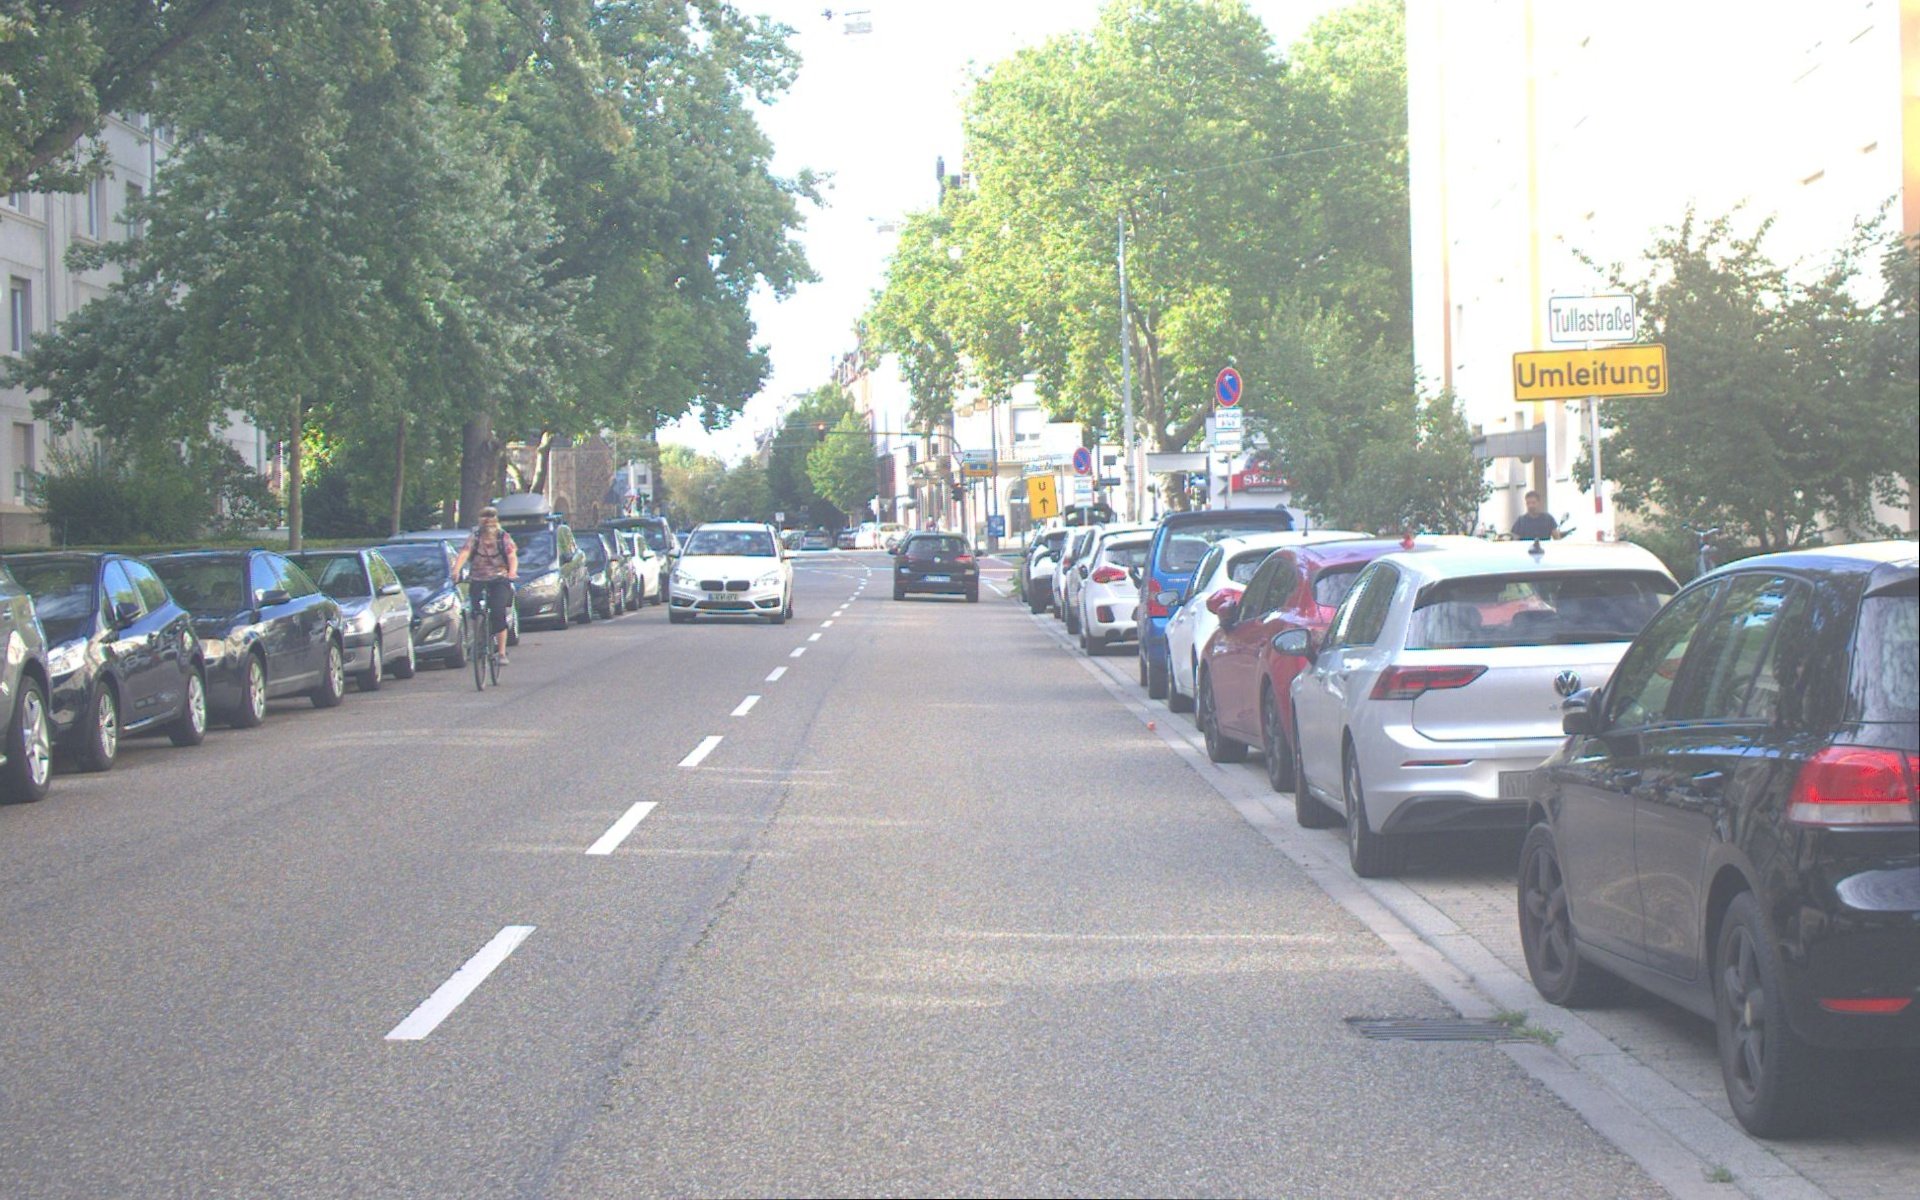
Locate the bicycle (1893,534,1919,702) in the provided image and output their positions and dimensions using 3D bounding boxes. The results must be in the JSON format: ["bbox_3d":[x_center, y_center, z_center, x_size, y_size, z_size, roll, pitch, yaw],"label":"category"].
[{"bbox_3d":[7.658,0.145,25.692,0.604,1.286,2.635,-2,1,0],"label":"bicycle"}]

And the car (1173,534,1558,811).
[{"bbox_3d":[2.448,0.371,21.716,1.728,1.510,4.192,-2,1,-2],"label":"car"}]

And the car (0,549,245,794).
[{"bbox_3d":[-6.344,0.468,23.880,1.685,1.475,4.119,-5,1,2],"label":"car"}]

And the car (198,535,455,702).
[{"bbox_3d":[-6.242,0.138,34.281,1.600,1.414,3.964,-4,1,2],"label":"car"}]

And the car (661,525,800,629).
[{"bbox_3d":[-3.576,-0.388,54.151,1.859,1.523,4.011,-1,2,0],"label":"car"}]

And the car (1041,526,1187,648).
[{"bbox_3d":[2.125,-0.217,48.466,1.728,1.575,4.117,-2,1,-1],"label":"car"}]

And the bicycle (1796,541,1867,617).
[{"bbox_3d":[11.151,-0.279,43.997,0.458,0.924,1.517,-2,1,-1],"label":"bicycle"}]

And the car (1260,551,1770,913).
[{"bbox_3d":[2.494,0.524,16.365,1.662,1.411,4.059,-3,1,-1],"label":"car"}]

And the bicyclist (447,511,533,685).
[{"bbox_3d":[-4.377,-0.027,32.071,0.641,1.595,0.990,-1,1,0],"label":"bicyclist"}]

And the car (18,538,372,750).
[{"bbox_3d":[-6.273,0.303,28.698,1.685,1.475,4.451,-5,1,3],"label":"car"}]

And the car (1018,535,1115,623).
[{"bbox_3d":[1.957,-0.408,62.904,1.690,1.523,4.237,-1,1,2],"label":"car"}]

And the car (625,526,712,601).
[{"bbox_3d":[-6.945,-0.896,82.301,1.799,1.614,3.803,-4,1,-2],"label":"car"}]

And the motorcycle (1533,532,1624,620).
[{"bbox_3d":[7.847,-0.319,43.711,0.630,1.041,2.394,-3,1,-1],"label":"motorcycle"}]

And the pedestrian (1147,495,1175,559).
[{"bbox_3d":[5.152,-1.872,88.233,0.652,1.639,0.743,-1,1,-1],"label":"pedestrian"}]

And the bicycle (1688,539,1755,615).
[{"bbox_3d":[9.706,-0.302,43.866,0.458,0.924,1.517,-2,1,-1],"label":"bicycle"}]

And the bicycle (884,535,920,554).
[{"bbox_3d":[-3.404,-3.253,201.371,2.022,1.078,0.620,-2,2,-13],"label":"bicycle"}]

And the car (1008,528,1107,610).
[{"bbox_3d":[1.933,-0.647,69.046,1.690,1.523,4.238,-2,1,-2],"label":"car"}]

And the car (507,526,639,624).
[{"bbox_3d":[-6.527,-0.457,58.314,1.700,1.482,3.848,-4,1,1],"label":"car"}]

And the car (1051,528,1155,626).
[{"bbox_3d":[2.339,-0.406,56.945,1.551,1.552,3.468,-1,1,0],"label":"car"}]

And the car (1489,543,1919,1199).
[{"bbox_3d":[2.683,0.618,9.687,1.662,1.486,3.942,-3,1,-1],"label":"car"}]

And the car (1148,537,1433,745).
[{"bbox_3d":[2.538,0.262,27.293,1.728,1.456,4.117,-2,1,-1],"label":"car"}]

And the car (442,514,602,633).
[{"bbox_3d":[-6.793,-0.453,53.780,1.799,1.662,4.483,-4,1,1],"label":"car"}]

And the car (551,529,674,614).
[{"bbox_3d":[-6.758,-0.582,67.238,1.694,1.488,4.332,-3,2,3],"label":"car"}]

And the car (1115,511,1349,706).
[{"bbox_3d":[2.481,0.035,32.267,1.728,1.644,4.117,-2,1,-1],"label":"car"}]

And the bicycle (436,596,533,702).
[{"bbox_3d":[-4.419,0.440,32.064,0.642,0.920,1.858,-1,1,0],"label":"bicycle"}]

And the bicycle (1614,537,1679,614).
[{"bbox_3d":[8.751,-0.318,43.829,0.458,0.938,1.517,-2,1,-1],"label":"bicycle"}]

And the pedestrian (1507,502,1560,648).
[{"bbox_3d":[6.808,-0.299,40.851,0.542,1.715,0.771,-1,1,5],"label":"pedestrian"}]

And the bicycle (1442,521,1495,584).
[{"bbox_3d":[9.335,-0.880,63.135,0.597,1.111,2.209,-3,1,0],"label":"bicycle"}]

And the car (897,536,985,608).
[{"bbox_3d":[-0.421,-0.598,71.328,1.751,1.408,4.000,-1,1,-1],"label":"car"}]

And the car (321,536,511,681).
[{"bbox_3d":[-6.132,0.059,39.121,1.614,1.463,4.014,-4,1,-3],"label":"car"}]

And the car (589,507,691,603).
[{"bbox_3d":[-6.738,-0.982,72.658,1.723,1.876,4.192,-3,1,-1],"label":"car"}]

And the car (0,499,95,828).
[{"bbox_3d":[-6.190,0.404,18.403,1.877,1.787,4.971,-3,1,-1],"label":"car"}]

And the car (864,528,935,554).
[{"bbox_3d":[-3.597,-3.496,203.781,3.986,1.415,2.001,-2,1,-7],"label":"car"}]

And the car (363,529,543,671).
[{"bbox_3d":[-6.515,-0.037,44.556,1.738,1.614,3.995,-5,1,-2],"label":"car"}]

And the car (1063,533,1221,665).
[{"bbox_3d":[2.212,-0.055,42.773,1.728,1.482,4.642,-2,1,1],"label":"car"}]
